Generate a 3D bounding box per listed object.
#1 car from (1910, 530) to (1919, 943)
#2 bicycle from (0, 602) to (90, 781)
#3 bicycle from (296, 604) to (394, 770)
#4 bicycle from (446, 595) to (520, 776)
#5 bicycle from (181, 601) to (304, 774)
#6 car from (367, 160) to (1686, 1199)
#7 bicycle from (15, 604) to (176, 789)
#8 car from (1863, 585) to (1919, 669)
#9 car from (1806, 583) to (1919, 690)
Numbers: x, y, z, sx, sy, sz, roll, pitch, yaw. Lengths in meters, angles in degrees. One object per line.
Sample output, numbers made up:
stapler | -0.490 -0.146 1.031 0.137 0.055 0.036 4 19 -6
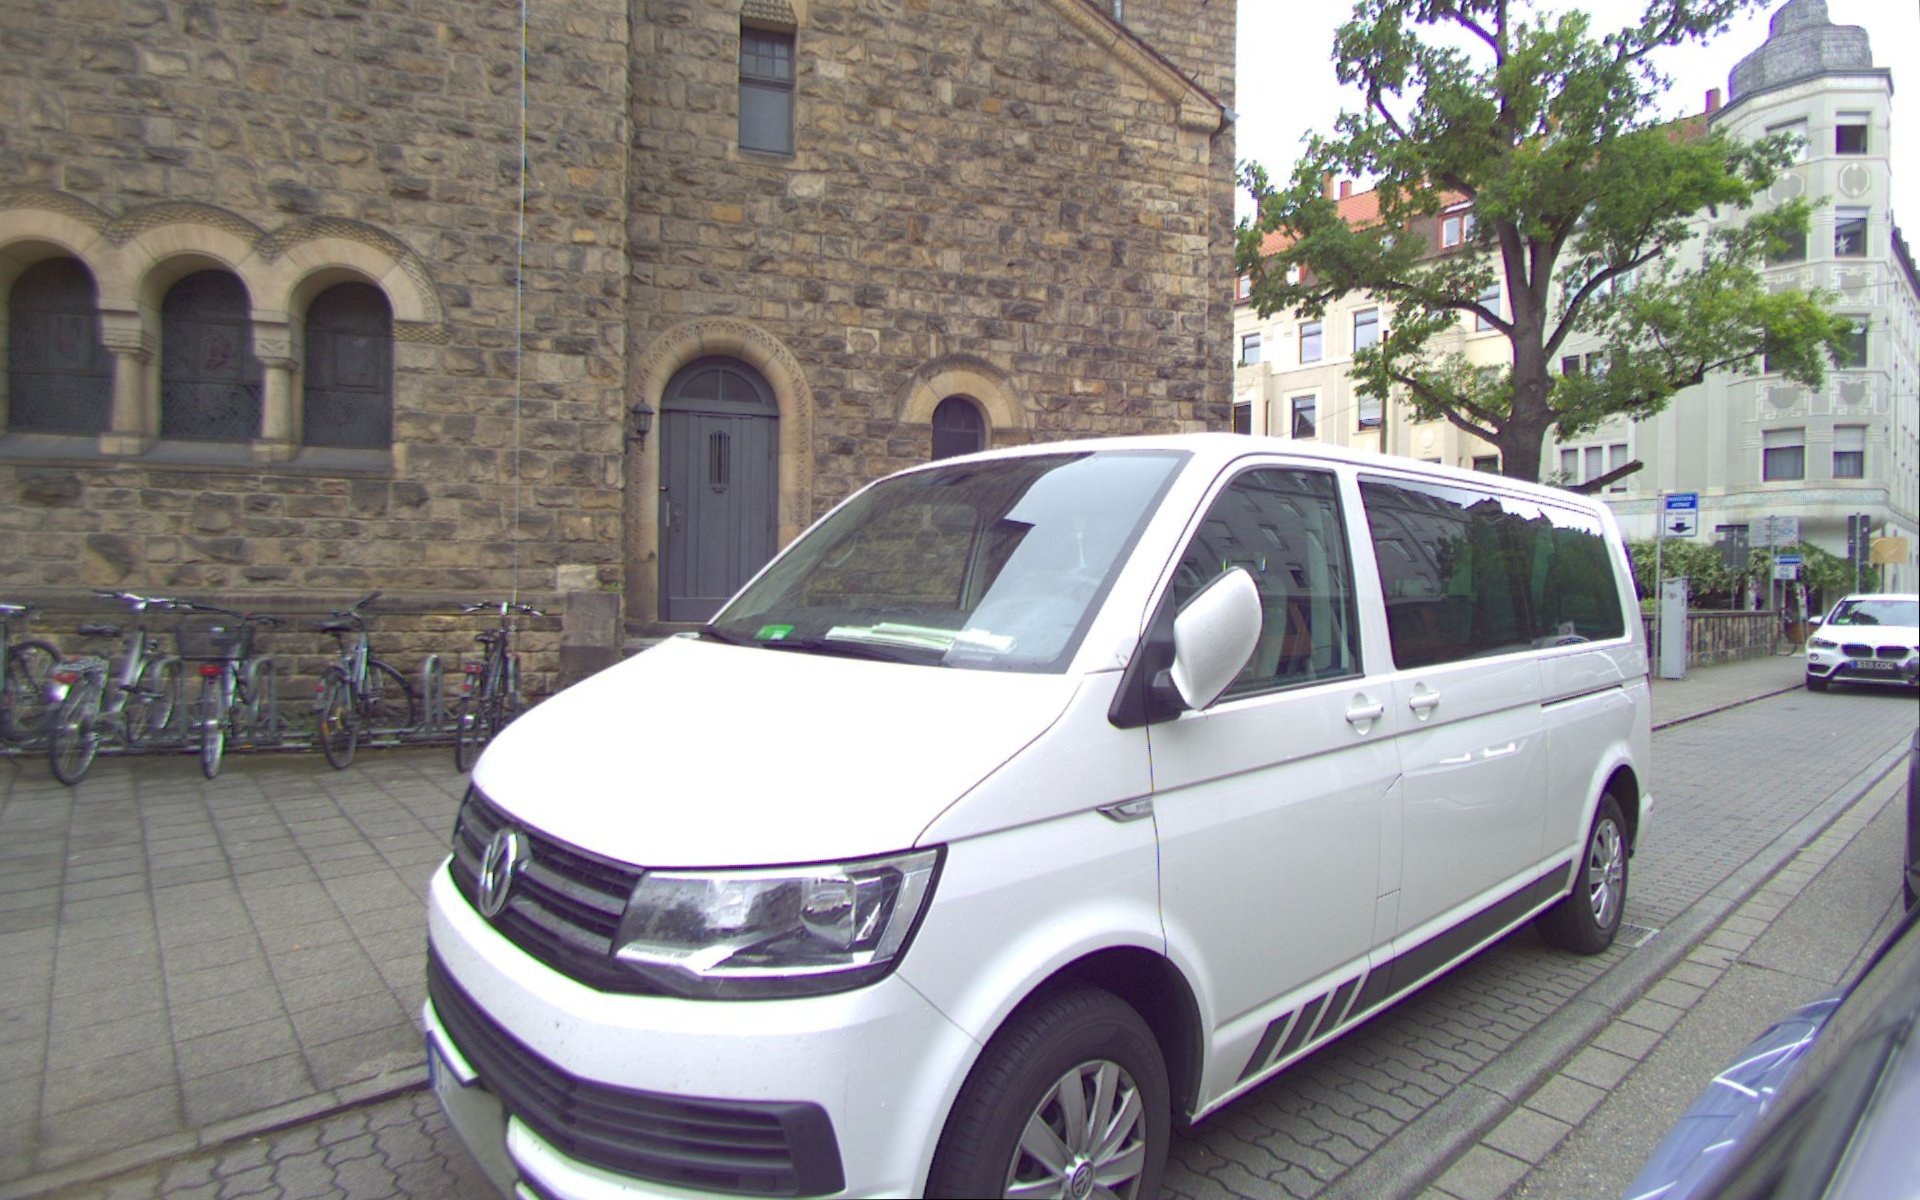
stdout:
car | 6.019 0.580 4.797 3.930 1.706 1.818 0 0 -41
bicycle | -6.109 0.558 6.476 0.304 1.073 1.386 1 0 -18
bicycle | -4.449 0.577 7.379 0.304 1.073 1.346 1 0 -18
bicycle | -3.386 0.553 7.237 0.304 1.161 1.346 1 0 -18
bicycle | -4.981 0.556 7.088 0.304 1.073 1.386 1 0 -18
car | 0.917 0.388 3.705 5.075 1.944 1.807 0 0 -42
bicycle | -5.681 0.576 6.719 0.304 1.073 1.386 1 0 -18
car | 19.799 0.519 20.461 3.930 1.585 1.818 0 1 -41
car | 15.400 0.537 16.525 3.930 1.585 1.818 0 1 -41
